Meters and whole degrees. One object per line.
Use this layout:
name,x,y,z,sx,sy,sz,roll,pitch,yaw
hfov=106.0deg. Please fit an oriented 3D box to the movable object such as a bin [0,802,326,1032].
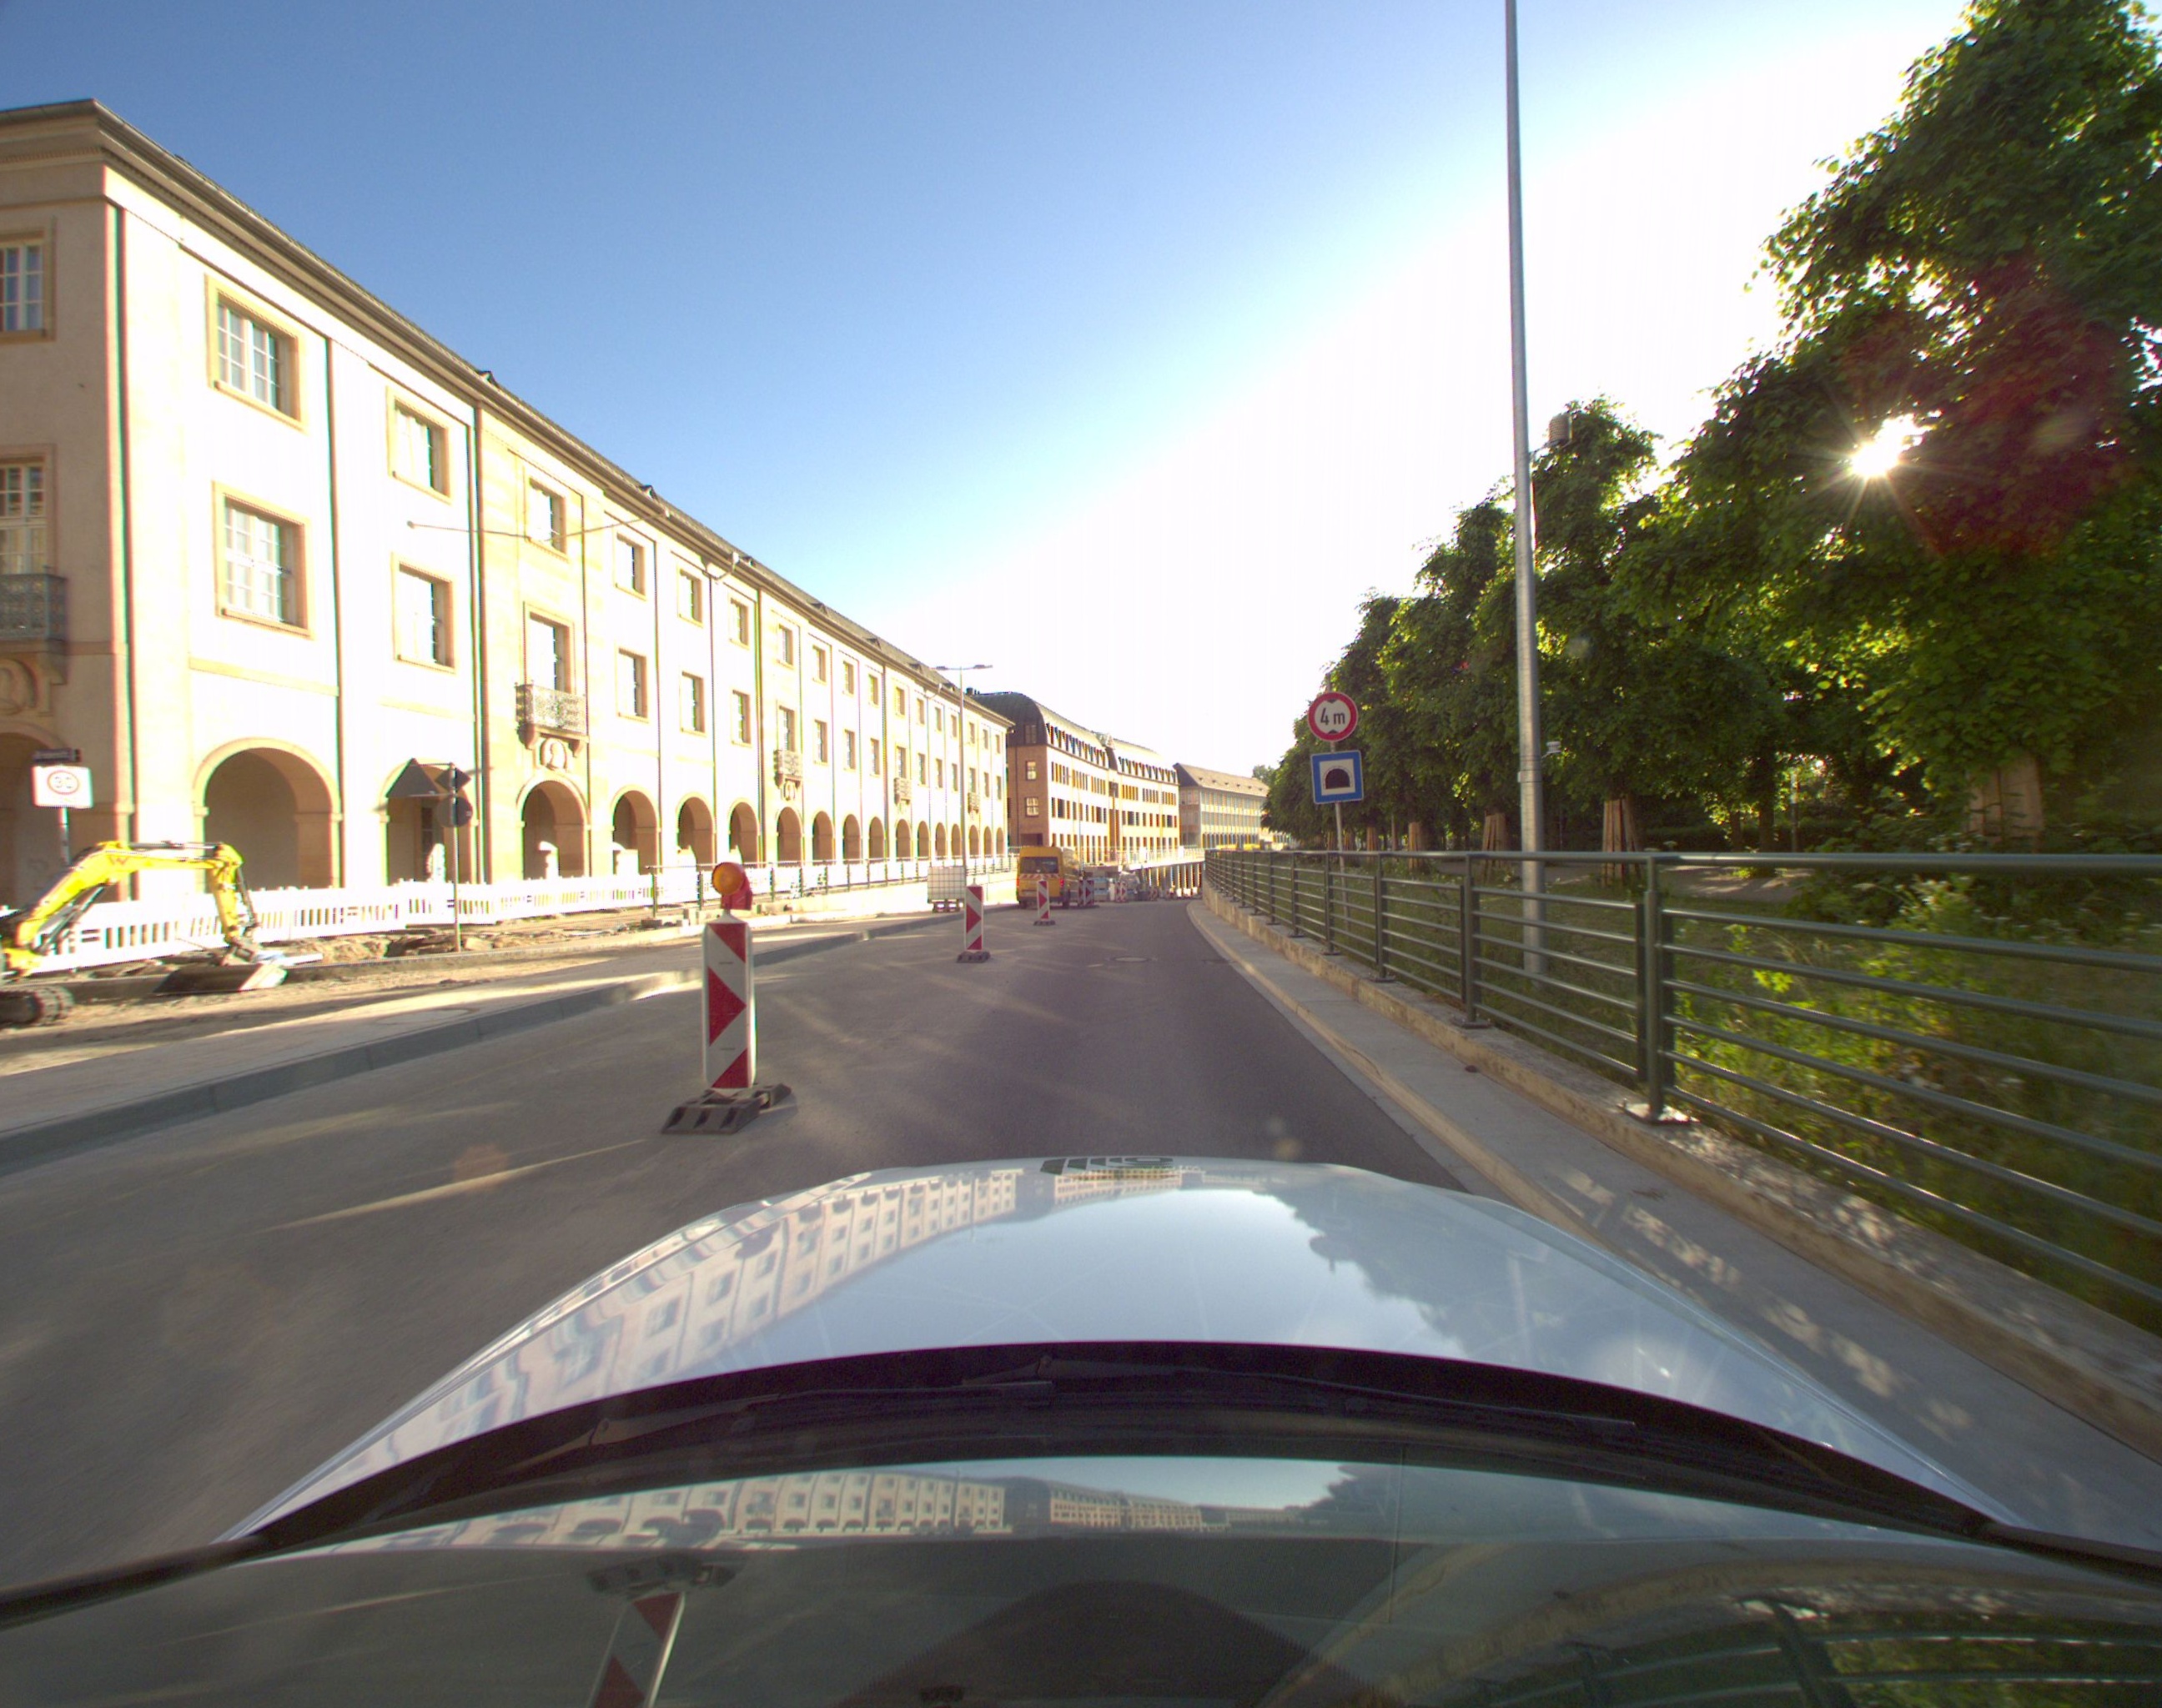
movable object such as a bin,-12.175,0.720,9.675,2.089,2.395,4.314,-3,-1,6

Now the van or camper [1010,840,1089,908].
van or camper,-1.213,0.914,35.089,2.181,2.613,6.838,1,-2,8
